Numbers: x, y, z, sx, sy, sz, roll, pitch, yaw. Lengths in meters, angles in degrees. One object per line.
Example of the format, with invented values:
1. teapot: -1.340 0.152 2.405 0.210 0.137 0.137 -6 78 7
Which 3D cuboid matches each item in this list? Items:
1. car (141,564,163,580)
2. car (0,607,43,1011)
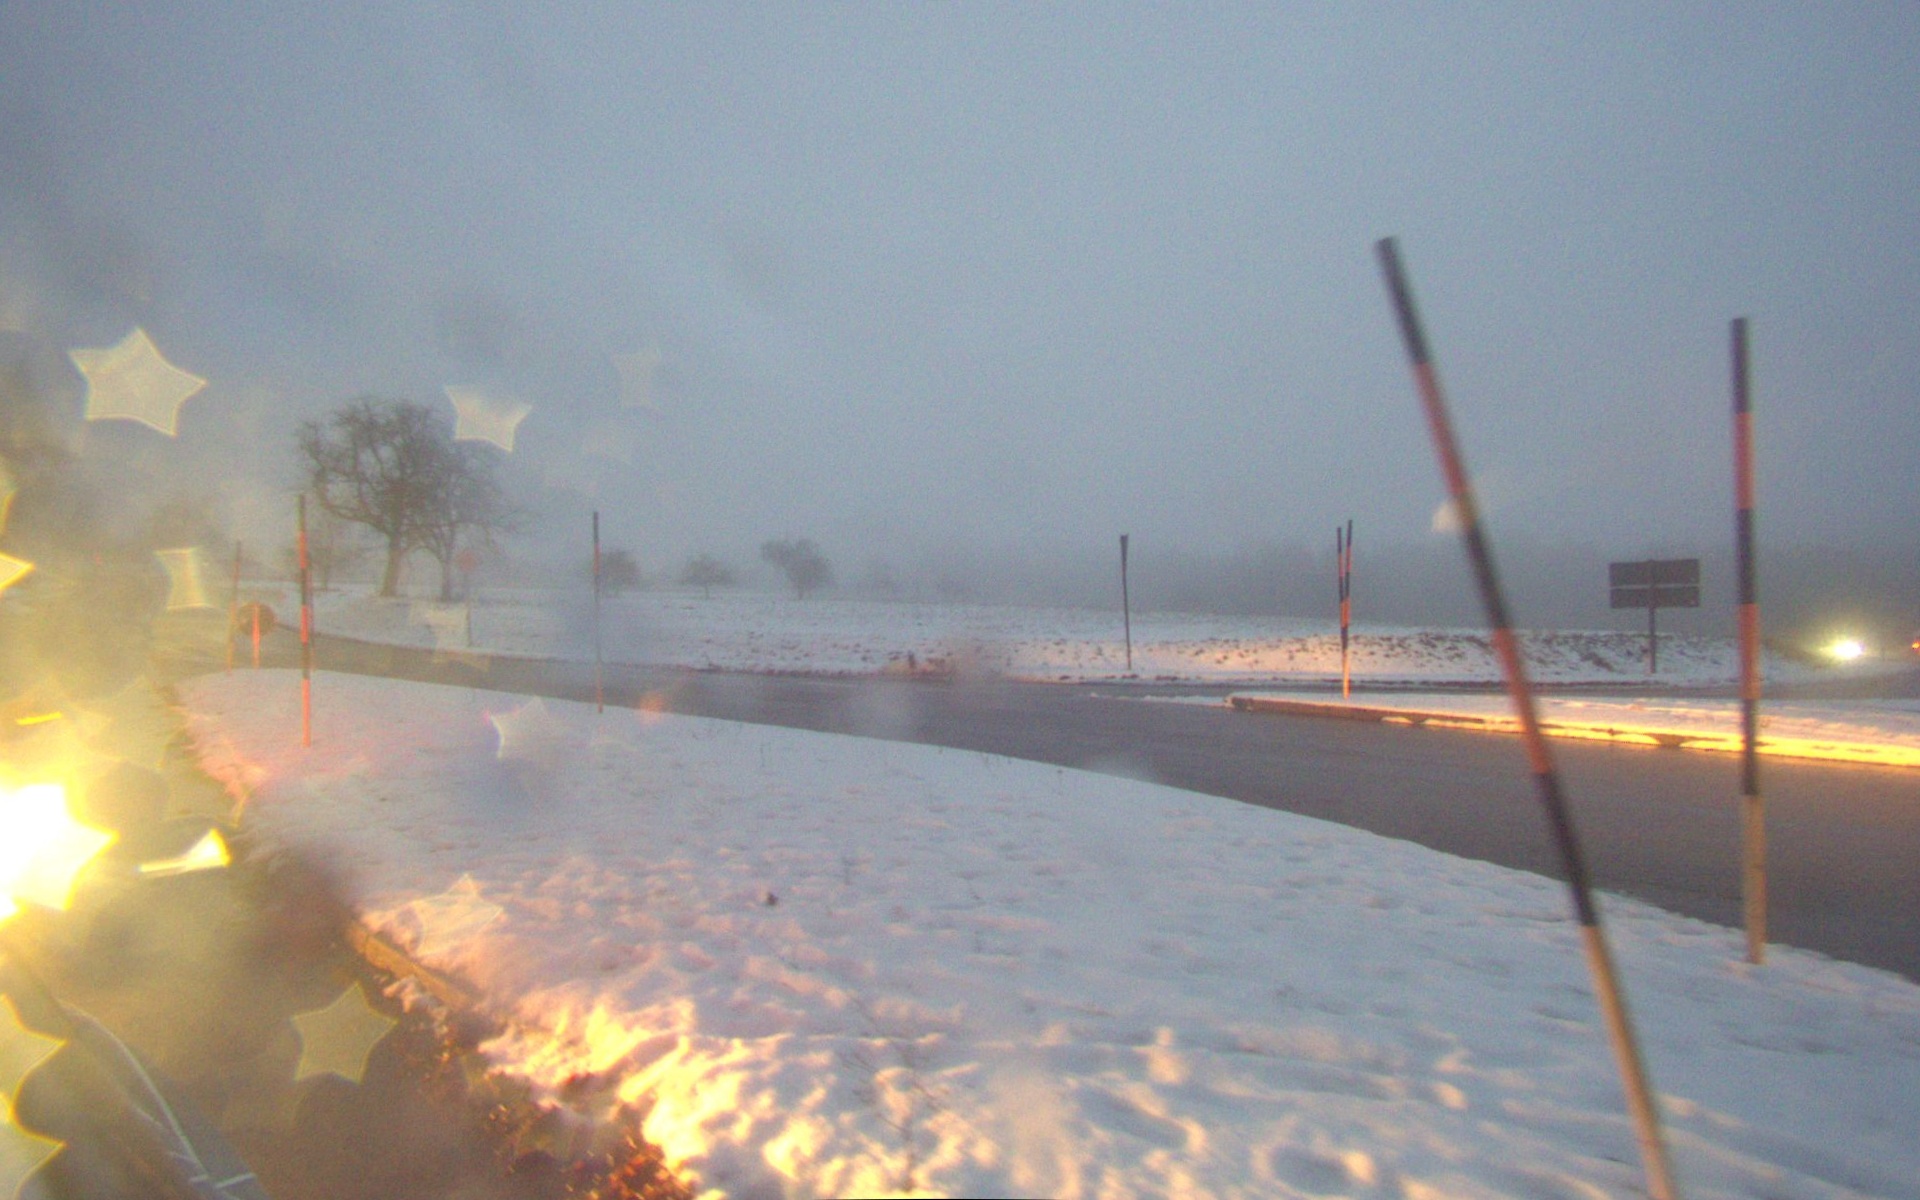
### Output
1. car: -91.875 -3.150 115.060 1.968 1.820 4.007 0 1 -40
2. car: -5.293 0.765 4.371 3.677 1.445 1.702 0 1 44
